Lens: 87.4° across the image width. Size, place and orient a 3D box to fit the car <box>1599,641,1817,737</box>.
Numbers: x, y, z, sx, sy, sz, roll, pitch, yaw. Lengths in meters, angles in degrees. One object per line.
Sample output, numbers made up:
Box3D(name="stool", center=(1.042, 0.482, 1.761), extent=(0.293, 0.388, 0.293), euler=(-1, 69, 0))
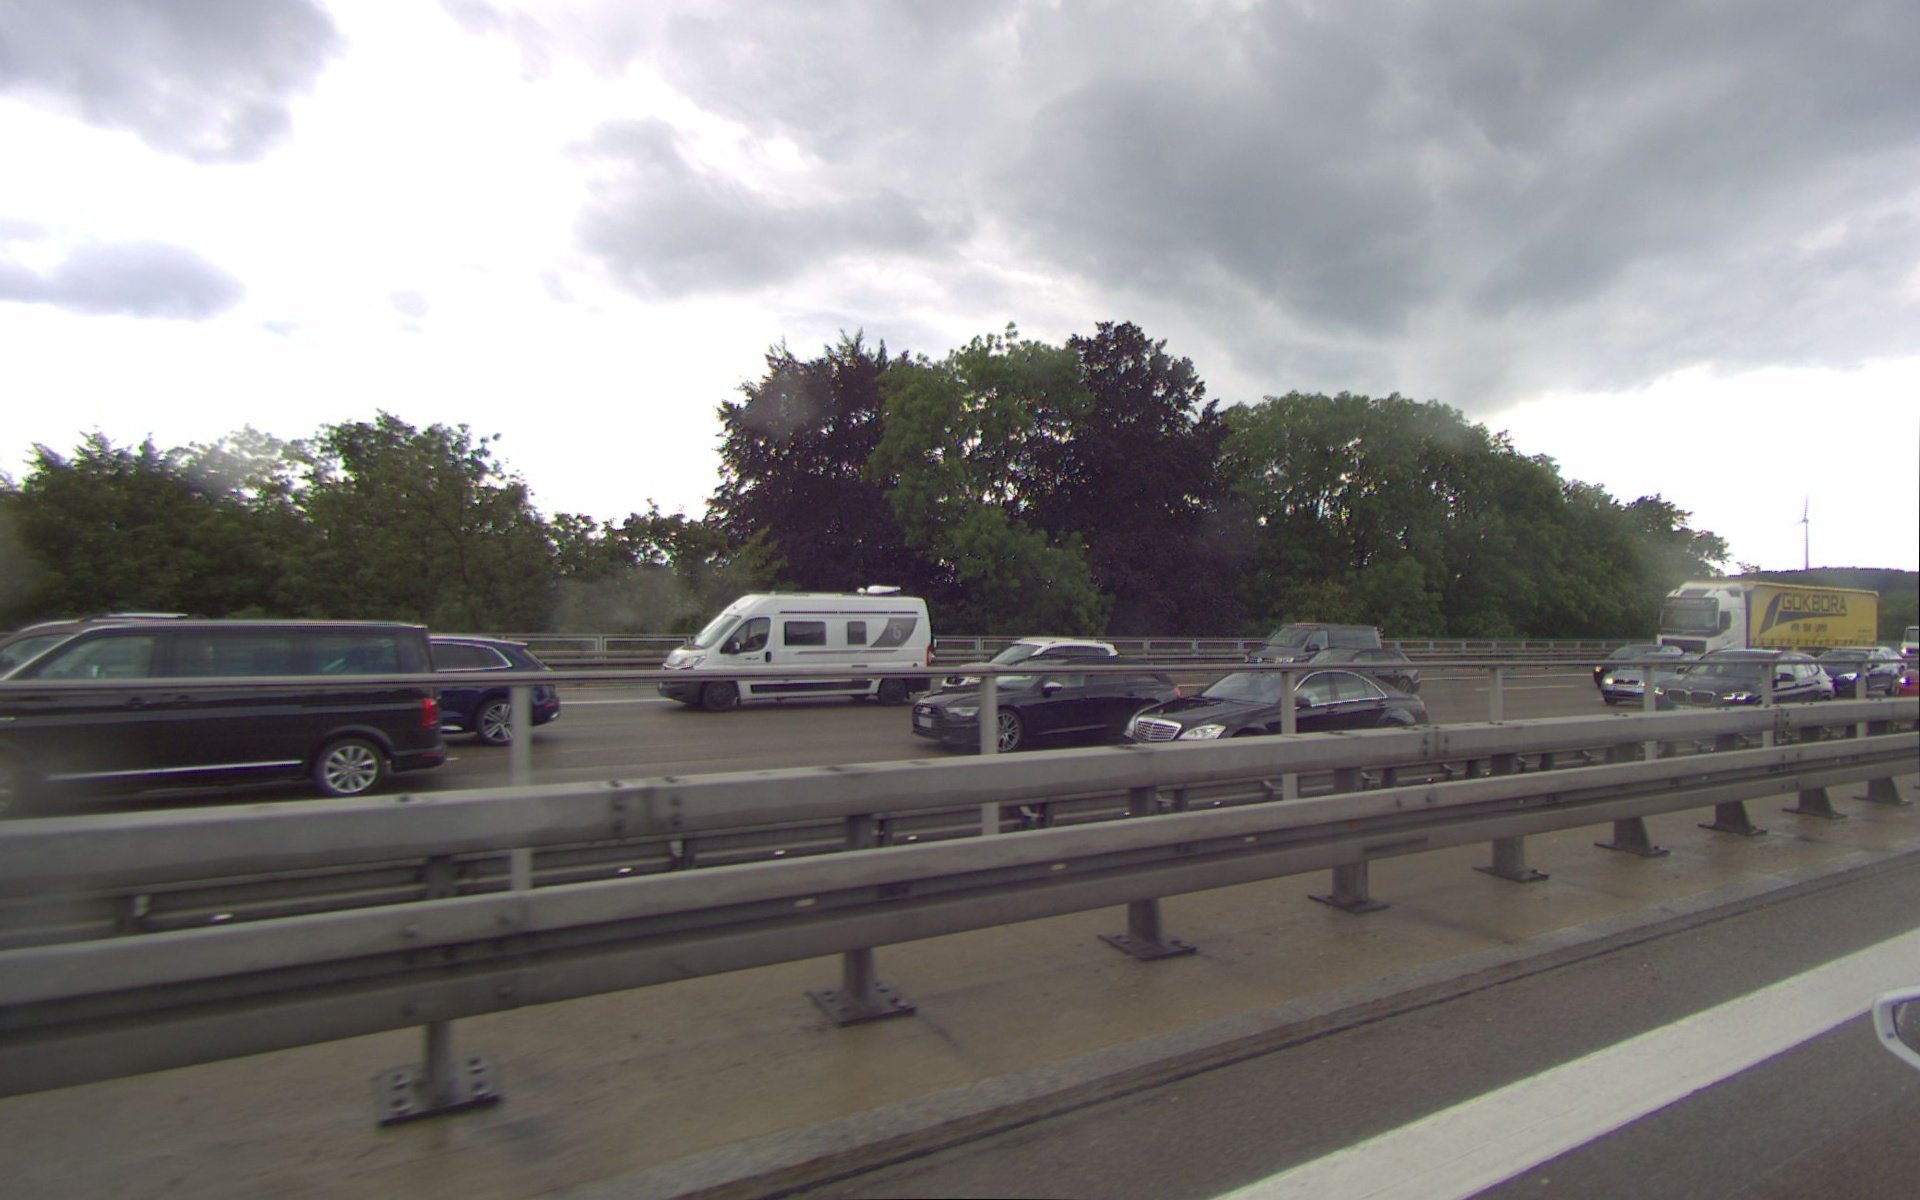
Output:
Box3D(name="car", center=(15.190, 1.698, 20.315), extent=(5.117, 1.692, 1.857), euler=(1, -1, -32))

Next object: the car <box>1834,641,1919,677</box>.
Box3D(name="car", center=(39.563, 2.511, 43.268), extent=(4.007, 1.457, 1.813), euler=(2, -2, -32))

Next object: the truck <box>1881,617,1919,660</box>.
Box3D(name="truck", center=(57.235, 2.277, 58.540), extent=(9.165, 2.403, 2.668), euler=(2, -2, -30))

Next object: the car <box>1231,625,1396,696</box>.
Box3D(name="car", center=(11.005, 1.822, 31.124), extent=(5.353, 2.040, 1.983), euler=(2, -2, -32))

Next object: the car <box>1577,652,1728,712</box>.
Box3D(name="car", center=(18.785, 2.155, 27.200), extent=(4.428, 1.444, 1.806), euler=(2, -2, -33))

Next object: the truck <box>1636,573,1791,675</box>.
Box3D(name="truck", center=(34.062, 1.106, 45.375), extent=(6.800, 4.306, 3.232), euler=(1, -2, -30))

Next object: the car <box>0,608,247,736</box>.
Box3D(name="car", center=(-14.784, 1.134, 16.622), extent=(4.708, 1.970, 2.065), euler=(2, -2, -33))

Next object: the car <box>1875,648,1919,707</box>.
Box3D(name="car", center=(26.984, 2.071, 27.277), extent=(4.789, 1.482, 1.983), euler=(1, -1, -32))

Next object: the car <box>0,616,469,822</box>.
Box3D(name="car", center=(-8.170, 1.171, 10.968), extent=(4.941, 1.927, 1.885), euler=(2, -2, -29))

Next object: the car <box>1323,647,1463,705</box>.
Box3D(name="car", center=(11.906, 2.034, 27.576), extent=(3.957, 1.437, 1.624), euler=(2, -2, -33))

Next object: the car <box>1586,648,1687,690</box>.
Box3D(name="car", center=(23.159, 2.338, 34.348), extent=(3.957, 1.318, 1.439), euler=(2, -2, -33))

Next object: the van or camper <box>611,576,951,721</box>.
Box3D(name="van or camper", center=(-3.811, 1.023, 22.339), extent=(7.152, 2.802, 2.189), euler=(1, -1, -33))

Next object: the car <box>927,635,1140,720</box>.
Box3D(name="car", center=(1.629, 1.587, 21.494), extent=(4.415, 1.634, 1.718), euler=(2, -2, -33))

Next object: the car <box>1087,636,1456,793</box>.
Box3D(name="car", center=(4.586, 1.458, 14.350), extent=(5.646, 1.850, 1.855), euler=(1, -1, -33))

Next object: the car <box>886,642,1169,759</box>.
Box3D(name="car", center=(1.164, 1.528, 16.417), extent=(4.415, 1.634, 1.852), euler=(1, -2, -33))

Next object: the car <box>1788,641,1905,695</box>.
Box3D(name="car", center=(29.447, 2.214, 33.341), extent=(4.528, 1.633, 1.769), euler=(2, -2, -33))

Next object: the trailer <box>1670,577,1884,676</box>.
Box3D(name="trailer", center=(39.895, 1.359, 48.772), extent=(14.338, 4.284, 3.232), euler=(2, -2, -30))

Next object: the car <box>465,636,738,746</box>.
Box3D(name="car", center=(-5.831, 1.400, 16.473), extent=(3.956, 1.600, 1.668), euler=(1, -2, -32))

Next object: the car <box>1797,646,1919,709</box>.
Box3D(name="car", center=(26.908, 2.254, 29.891), extent=(3.953, 1.731, 1.848), euler=(2, -2, -31))
